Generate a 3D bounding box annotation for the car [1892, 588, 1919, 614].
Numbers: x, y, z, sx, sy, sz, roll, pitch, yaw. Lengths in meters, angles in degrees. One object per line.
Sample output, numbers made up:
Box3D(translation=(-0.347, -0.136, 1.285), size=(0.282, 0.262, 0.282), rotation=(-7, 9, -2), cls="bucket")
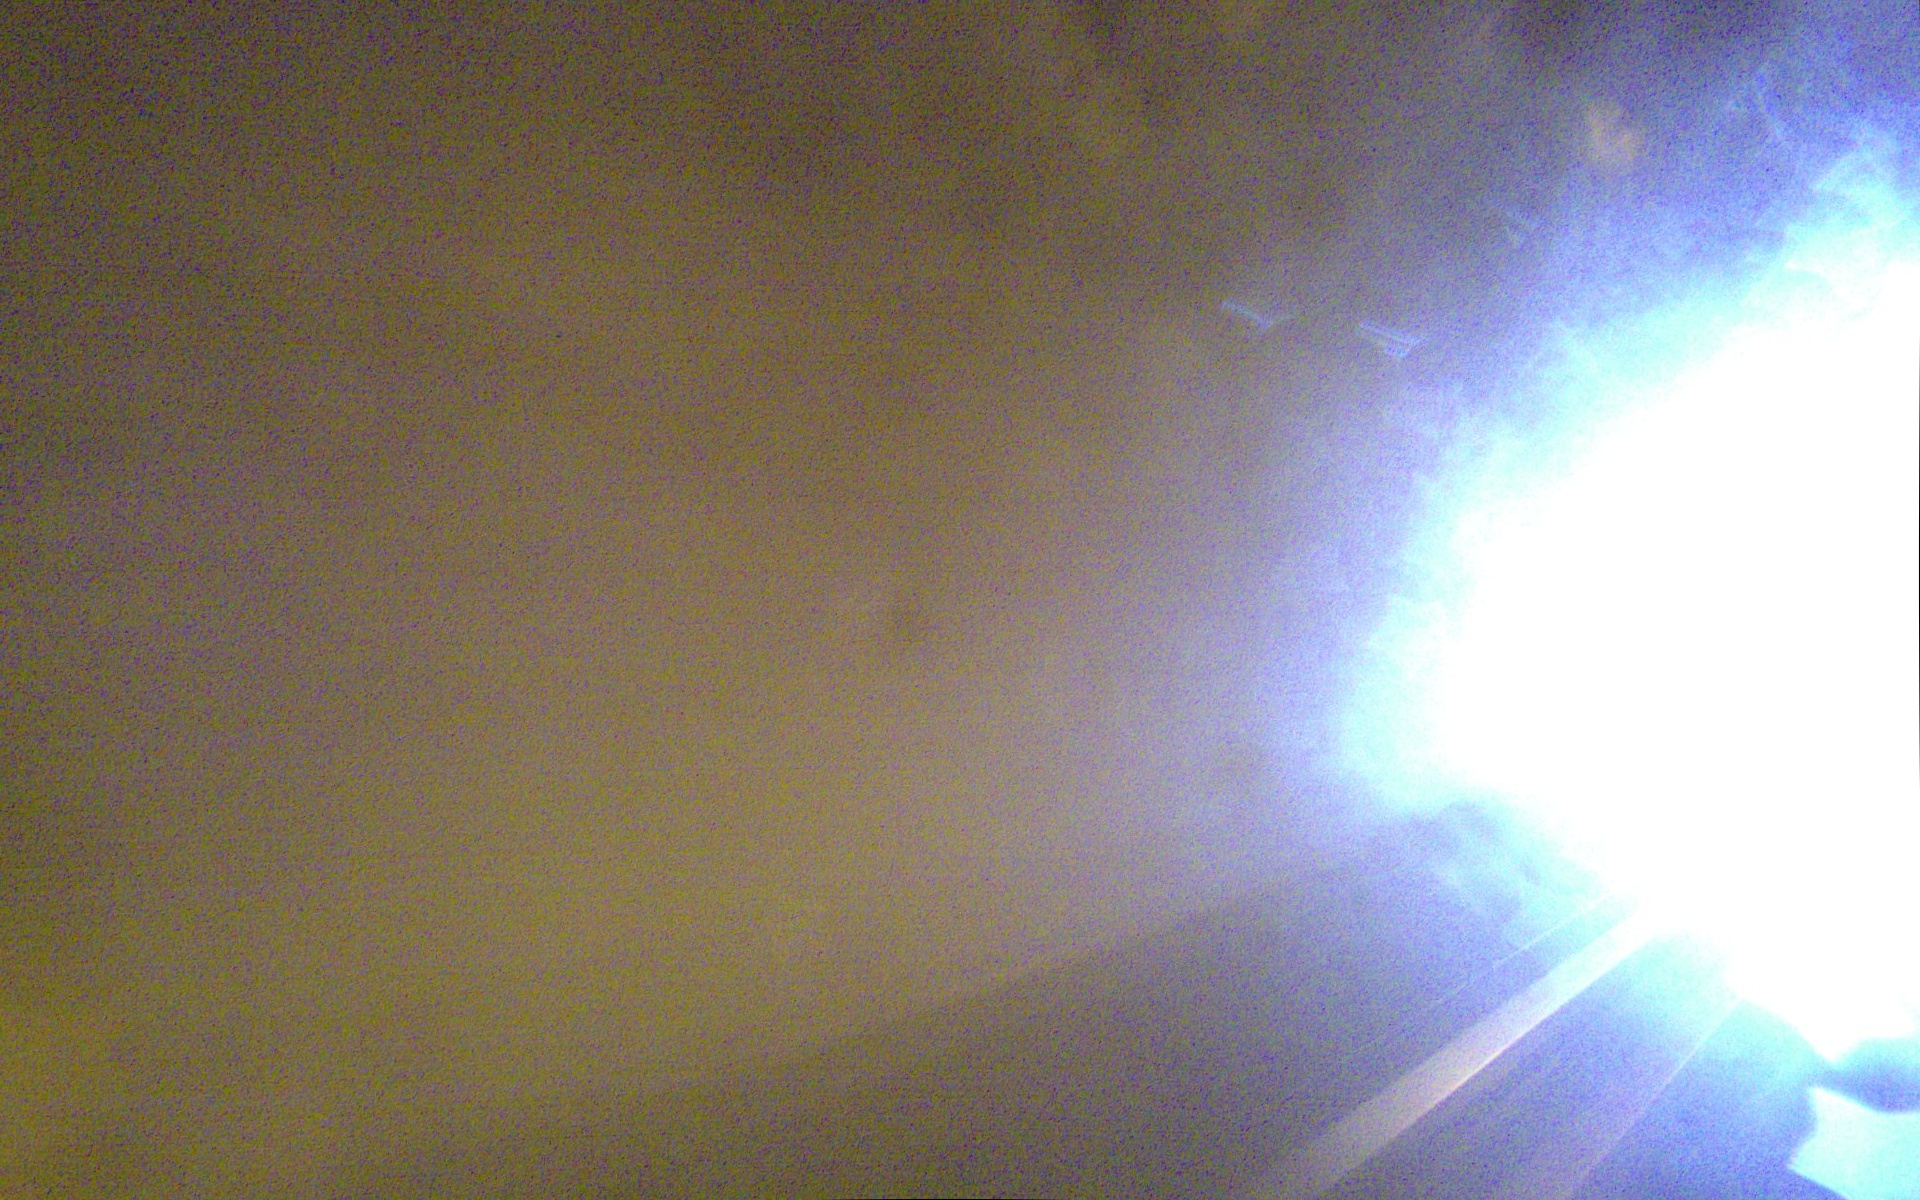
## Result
Box3D(translation=(71.225, 0.058, 75.382), size=(1.696, 1.793, 3.958), rotation=(3, 3, 30), cls="car")
